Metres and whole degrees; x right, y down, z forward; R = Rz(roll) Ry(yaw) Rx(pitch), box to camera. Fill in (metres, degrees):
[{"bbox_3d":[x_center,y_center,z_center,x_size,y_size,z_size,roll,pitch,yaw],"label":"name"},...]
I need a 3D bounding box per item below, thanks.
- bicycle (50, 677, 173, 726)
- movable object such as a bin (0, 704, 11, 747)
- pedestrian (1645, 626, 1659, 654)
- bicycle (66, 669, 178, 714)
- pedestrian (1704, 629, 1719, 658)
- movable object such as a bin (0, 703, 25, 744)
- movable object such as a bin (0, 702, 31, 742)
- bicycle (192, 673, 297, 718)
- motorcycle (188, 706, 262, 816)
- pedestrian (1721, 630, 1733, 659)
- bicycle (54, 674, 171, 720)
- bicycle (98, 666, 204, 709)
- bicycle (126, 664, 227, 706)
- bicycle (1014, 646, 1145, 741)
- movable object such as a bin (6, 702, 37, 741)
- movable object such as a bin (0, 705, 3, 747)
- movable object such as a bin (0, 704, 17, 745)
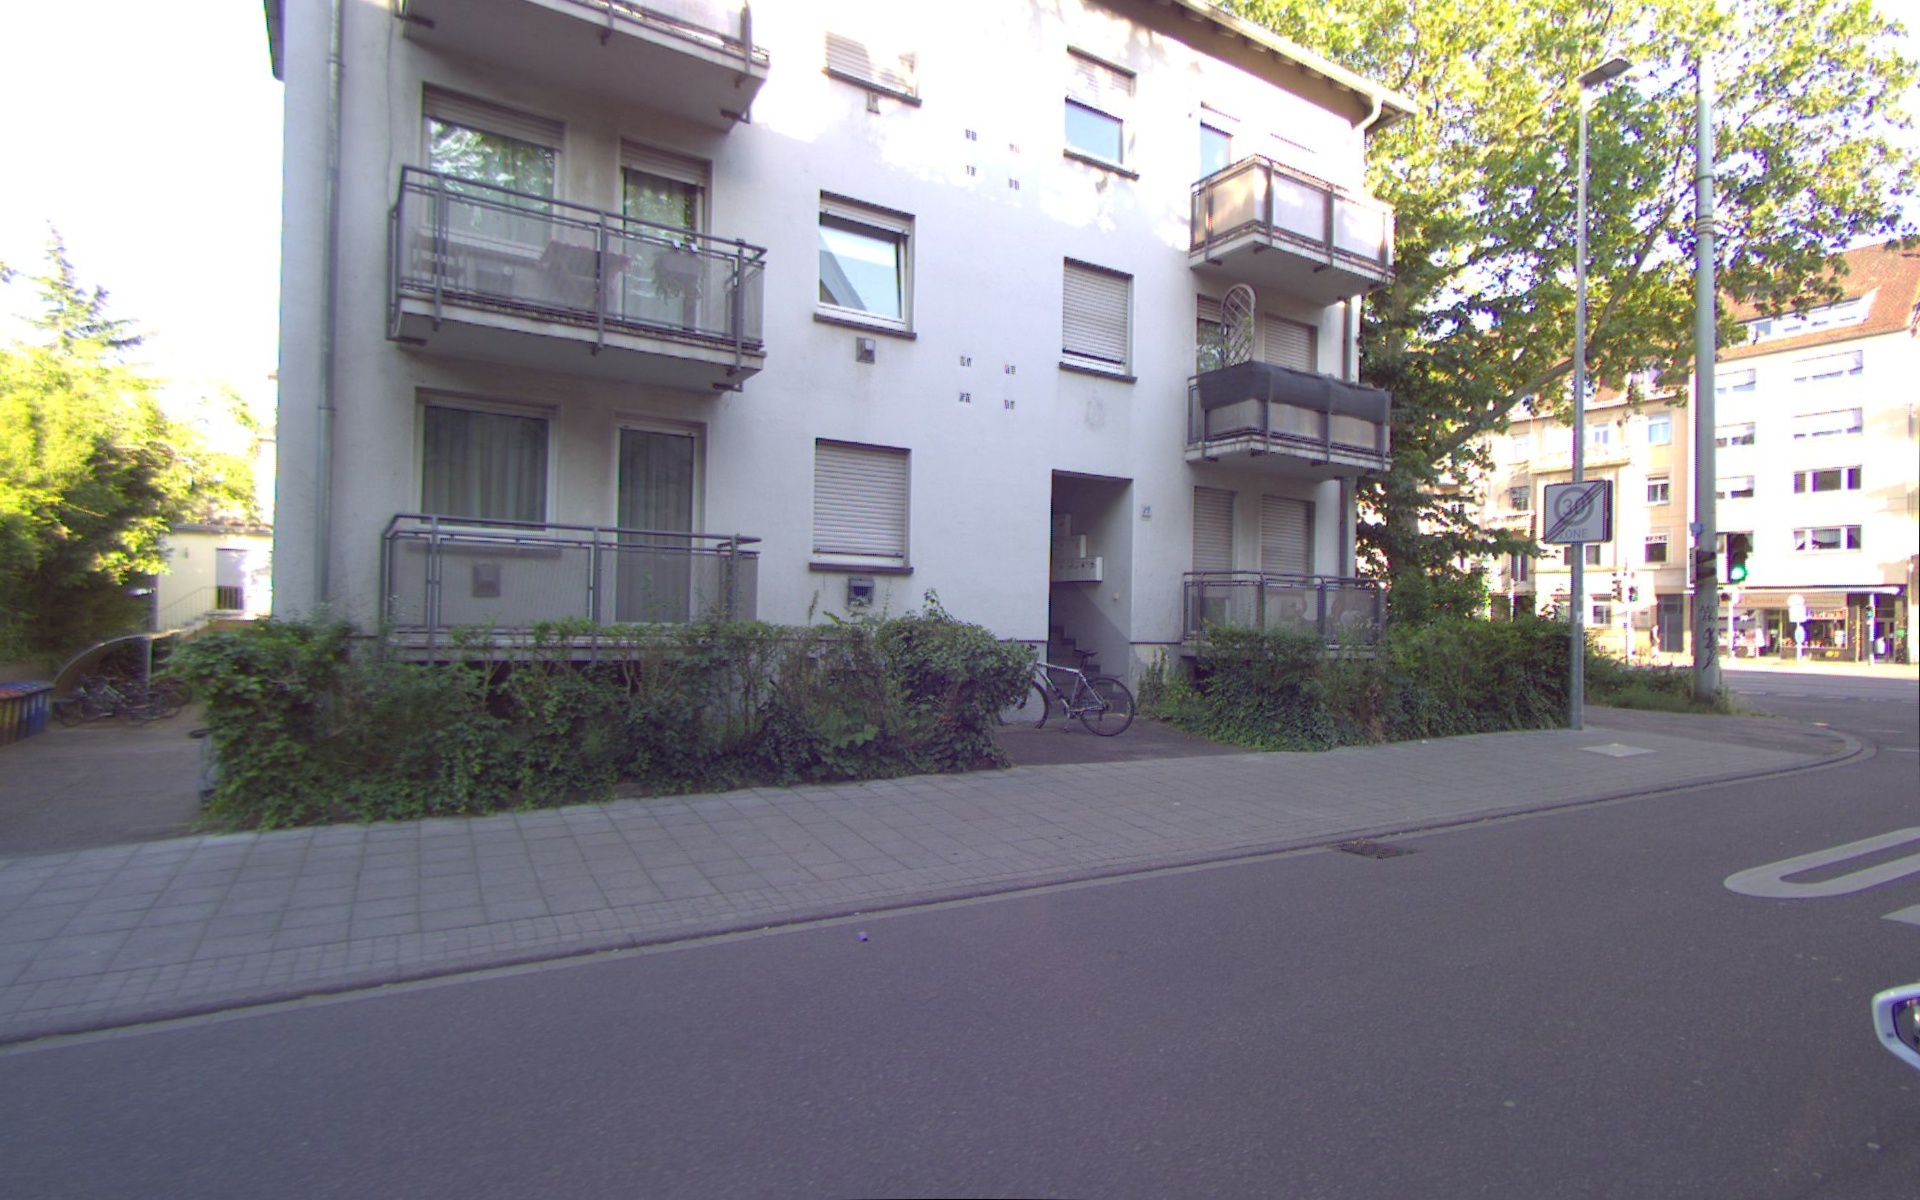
[{"bbox_3d":[-19.607,2.352,23.267,2.044,1.034,0.638,4,0,-29],"label":"bicycle"},{"bbox_3d":[-18.238,2.367,18.942,0.376,0.784,0.362,2,-4,-29],"label":"movable object such as a bin"},{"bbox_3d":[38.573,2.245,55.973,0.559,1.531,0.499,0,-1,42],"label":"pedestrian"},{"bbox_3d":[-21.150,2.316,25.403,2.044,1.034,0.611,4,0,-29],"label":"bicycle"},{"bbox_3d":[40.751,2.360,54.456,0.531,1.531,0.505,1,-1,-35],"label":"pedestrian"},{"bbox_3d":[-18.609,2.416,19.640,0.362,0.768,0.362,2,-4,-29],"label":"movable object such as a bin"},{"bbox_3d":[-18.796,2.429,19.985,0.362,0.768,0.362,2,-4,-29],"label":"movable object such as a bin"},{"bbox_3d":[-17.985,2.407,25.299,2.044,1.034,0.638,4,0,-29],"label":"bicycle"},{"bbox_3d":[-9.891,2.127,13.562,0.751,1.268,1.578,1,-2,-35],"label":"motorcycle"},{"bbox_3d":[41.013,2.351,53.717,0.467,1.531,0.428,0,-1,42],"label":"pedestrian"},{"bbox_3d":[-20.342,2.334,24.161,2.044,1.034,0.569,4,0,-29],"label":"bicycle"},{"bbox_3d":[-21.265,2.317,26.443,2.044,1.034,0.611,4,0,-29],"label":"bicycle"},{"bbox_3d":[-21.272,2.321,27.316,2.044,1.034,0.564,4,0,-29],"label":"bicycle"},{"bbox_3d":[1.406,1.083,11.881,1.434,0.988,0.407,3,0,22],"label":"bicycle"},{"bbox_3d":[-18.996,2.456,20.335,0.342,0.768,0.362,2,-4,-29],"label":"movable object such as a bin"},{"bbox_3d":[-18.051,2.350,18.578,0.393,0.784,0.362,2,-4,-29],"label":"movable object such as a bin"},{"bbox_3d":[-18.429,2.392,19.287,0.371,0.768,0.362,2,-4,-29],"label":"movable object such as a bin"}]
